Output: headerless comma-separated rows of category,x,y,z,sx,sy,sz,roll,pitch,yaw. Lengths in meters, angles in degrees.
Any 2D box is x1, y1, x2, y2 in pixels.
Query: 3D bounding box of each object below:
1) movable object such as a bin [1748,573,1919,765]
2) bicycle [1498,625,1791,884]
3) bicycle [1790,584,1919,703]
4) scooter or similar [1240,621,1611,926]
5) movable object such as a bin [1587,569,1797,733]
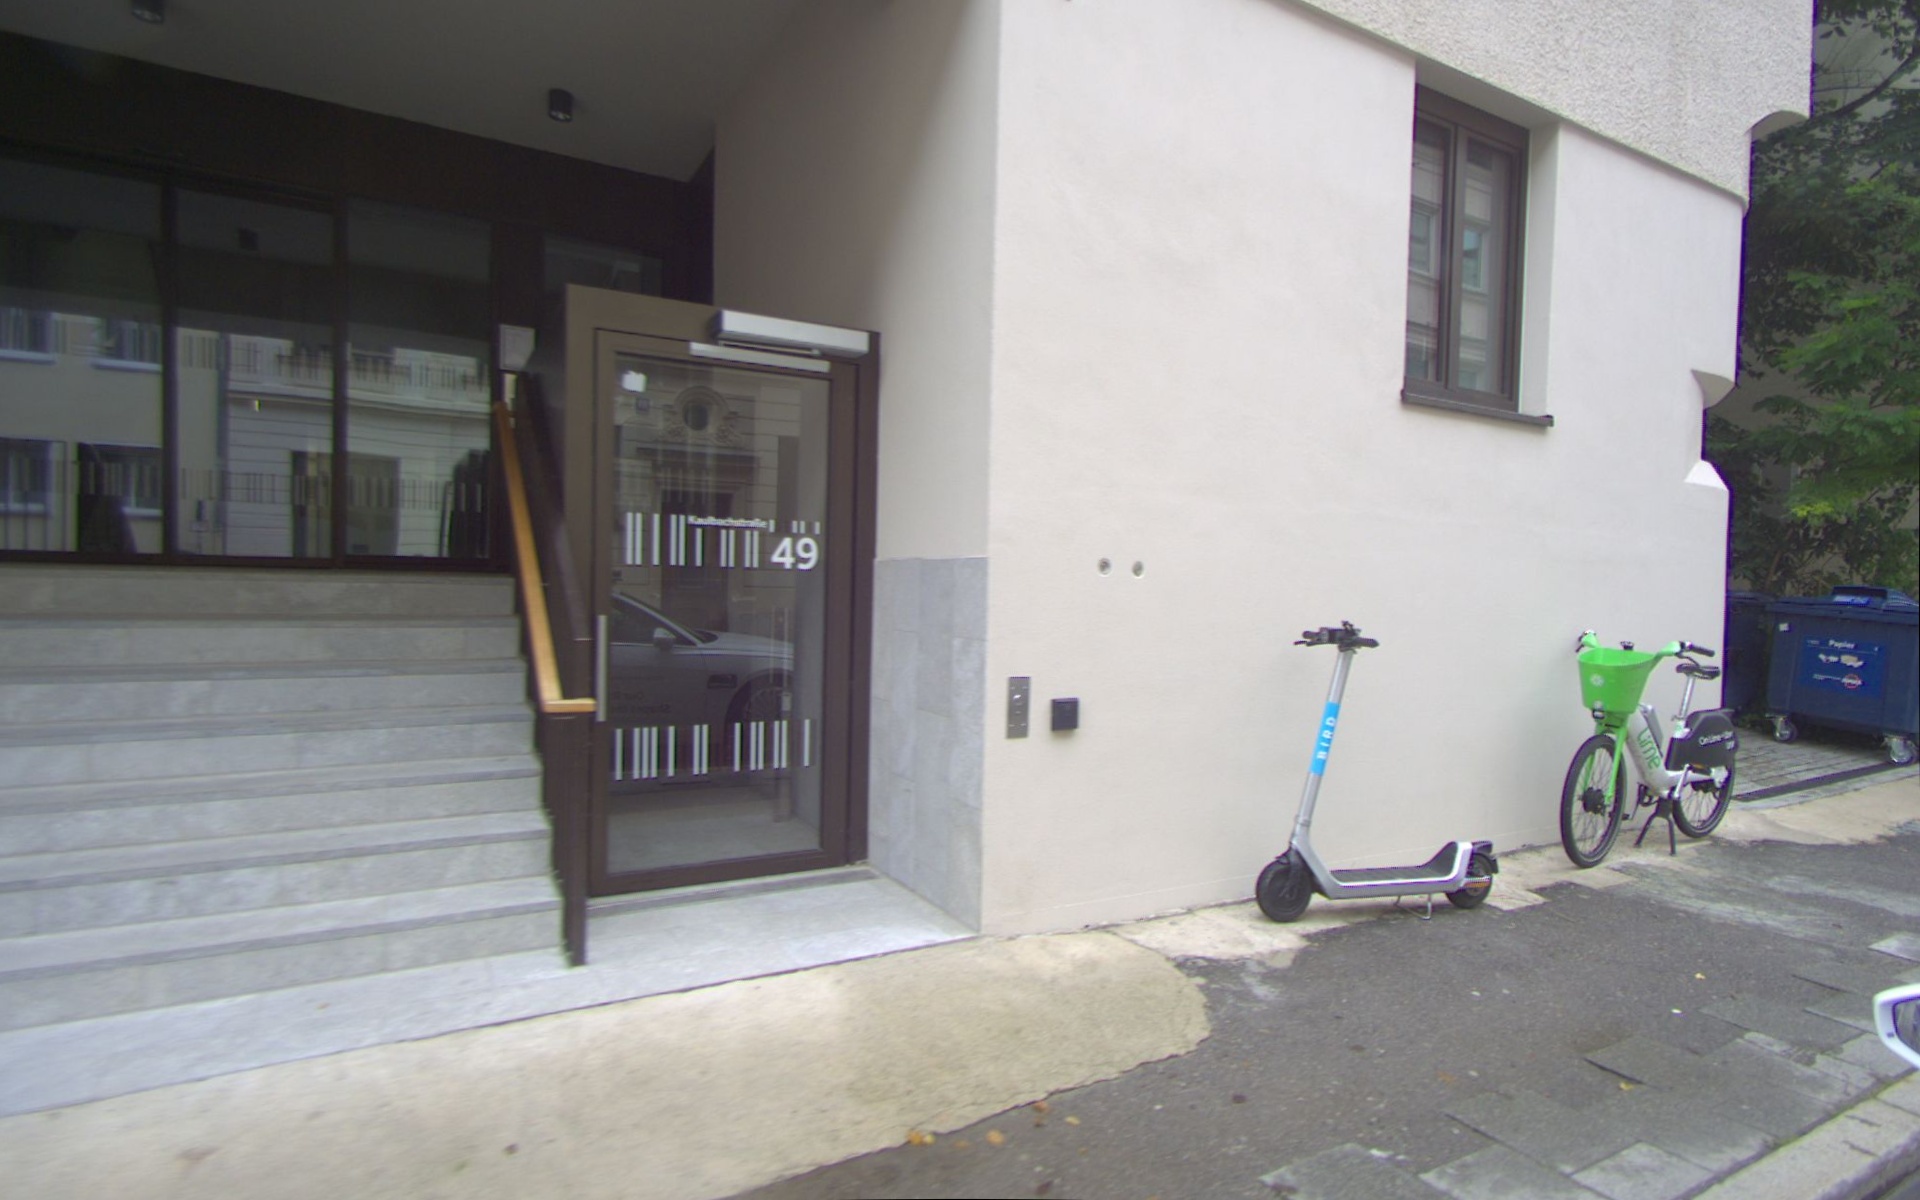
movable object such as a bin,8.020,0.544,8.821,1.231,1.462,1.171,0,6,-24
bicycle,3.723,0.743,5.411,1.861,1.177,0.541,1,3,-32
bicycle,11.305,0.527,11.873,0.508,1.316,2.189,1,4,-30
scooter or similar,1.984,0.712,4.341,1.335,1.159,0.552,2,3,-13
movable object such as a bin,7.284,0.453,10.037,1.233,1.424,1.169,-1,7,-28
